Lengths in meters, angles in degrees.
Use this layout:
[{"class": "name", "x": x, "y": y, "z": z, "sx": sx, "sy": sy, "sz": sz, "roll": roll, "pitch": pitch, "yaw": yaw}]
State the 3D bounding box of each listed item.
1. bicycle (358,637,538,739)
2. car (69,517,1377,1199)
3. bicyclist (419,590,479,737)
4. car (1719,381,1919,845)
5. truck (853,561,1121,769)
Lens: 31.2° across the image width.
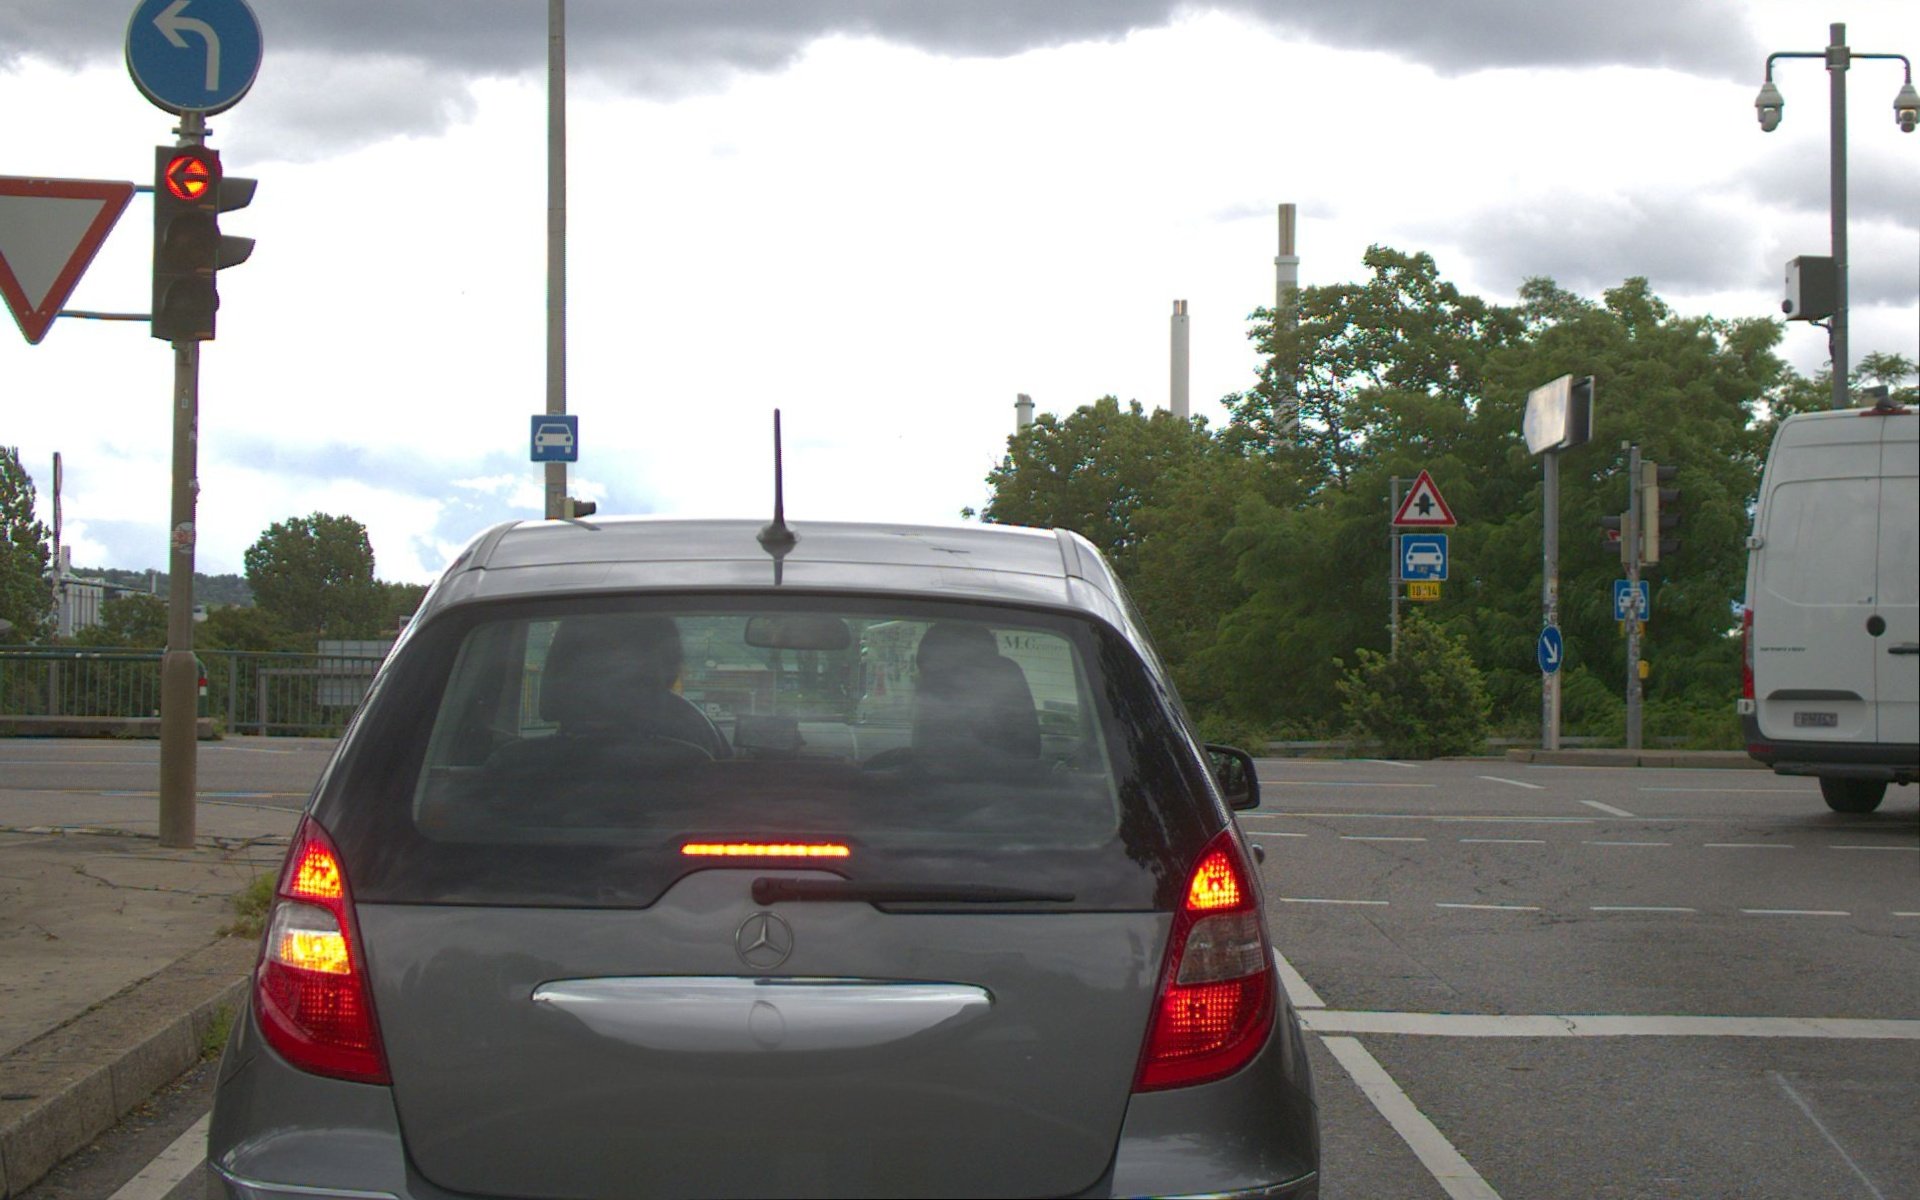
[{"class": "bicycle", "x": -5.969, "y": 1.014, "z": 40.050, "sx": 2.032, "sy": 1.121, "sz": 0.929, "roll": 0, "pitch": 1, "yaw": -11}, {"class": "car", "x": -0.288, "y": 0.636, "z": 6.888, "sx": 1.858, "sy": 1.583, "sz": 4.000, "roll": 0, "pitch": 2, "yaw": 2}, {"class": "bicyclist", "x": -5.957, "y": 0.729, "z": 40.058, "sx": 0.653, "sy": 1.668, "sz": 0.870, "roll": 0, "pitch": 1, "yaw": -11}, {"class": "car", "x": 7.583, "y": 0.016, "z": 23.406, "sx": 2.115, "sy": 2.774, "sz": 6.765, "roll": 1, "pitch": 2, "yaw": 37}, {"class": "truck", "x": 0.328, "y": 1.076, "z": 65.221, "sx": 2.788, "sy": 3.506, "sz": 10.251, "roll": 0, "pitch": 1, "yaw": -13}]
